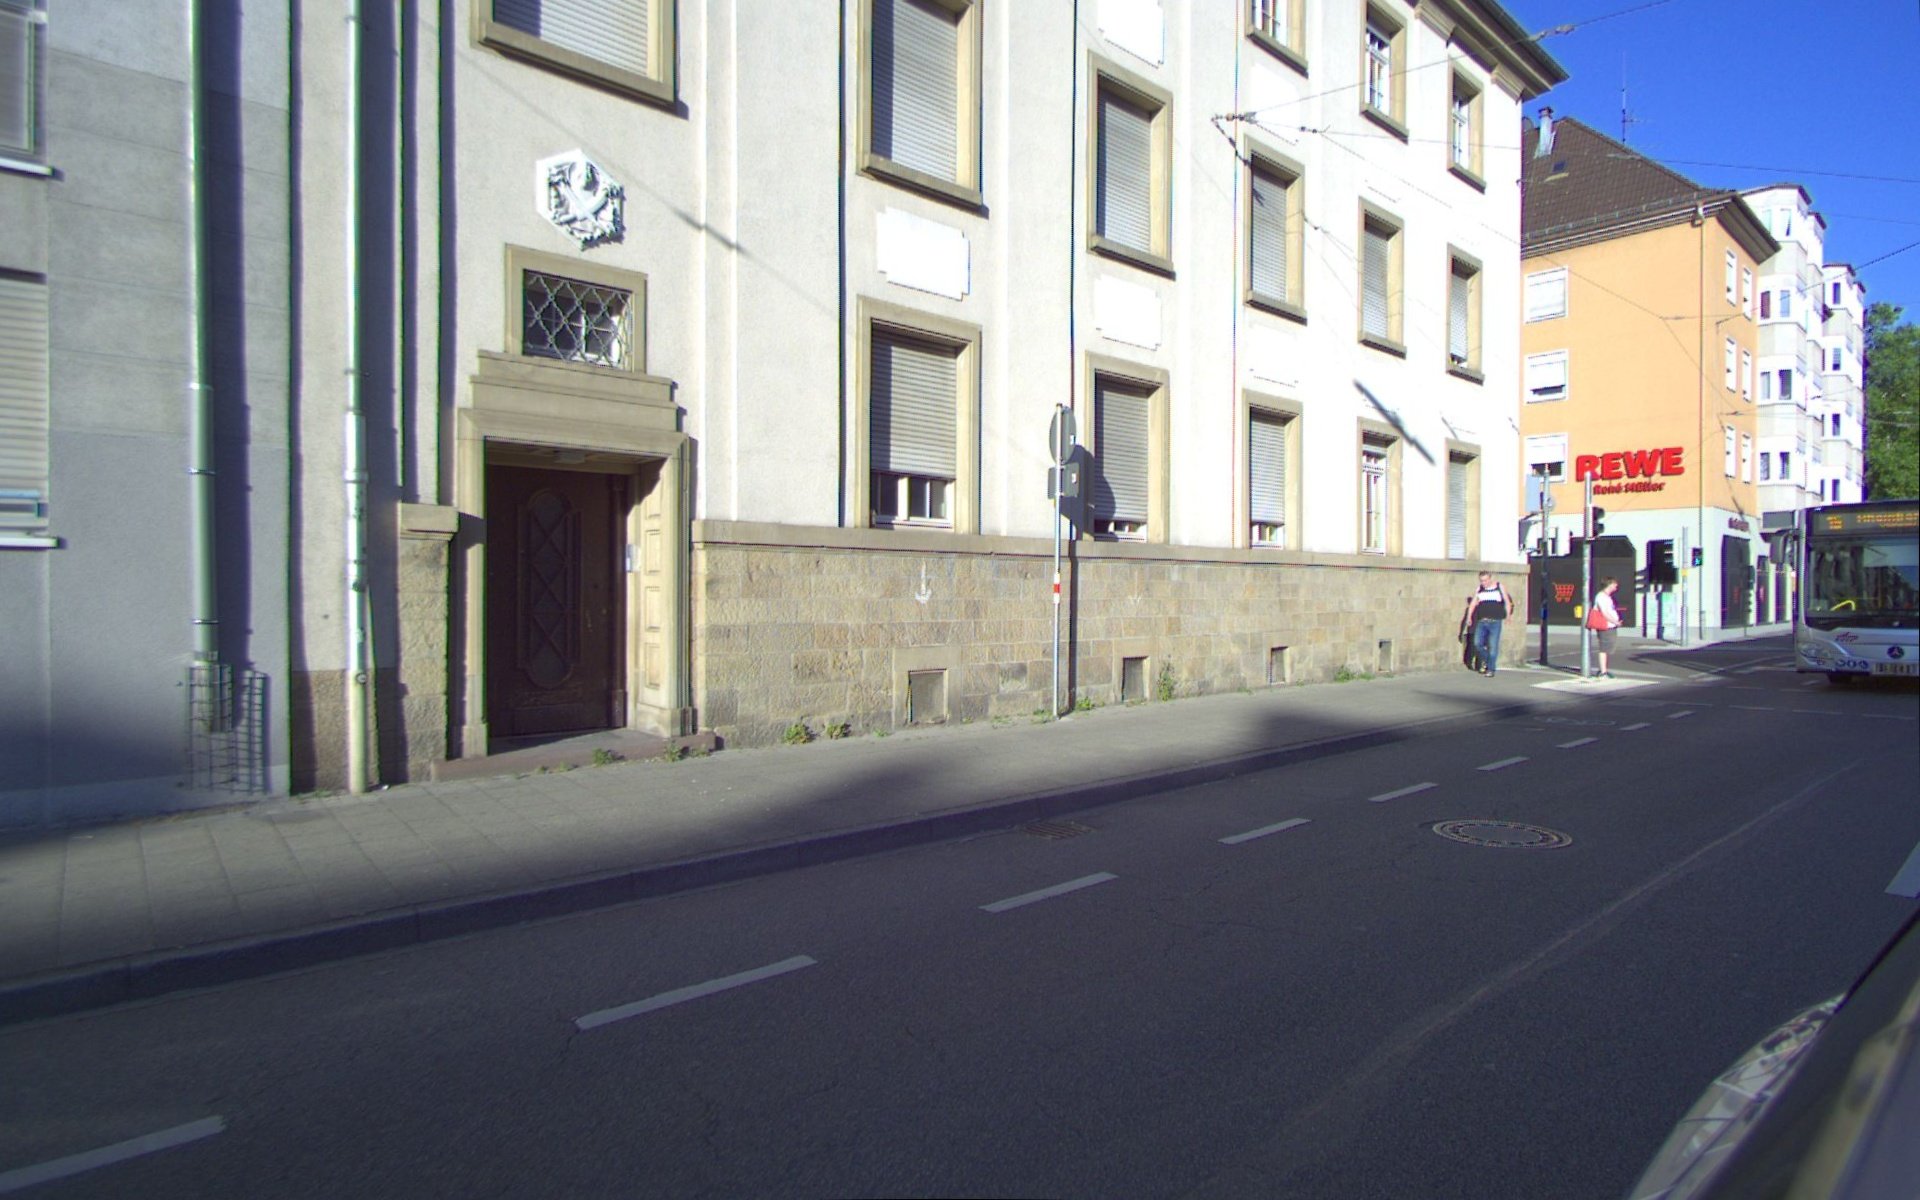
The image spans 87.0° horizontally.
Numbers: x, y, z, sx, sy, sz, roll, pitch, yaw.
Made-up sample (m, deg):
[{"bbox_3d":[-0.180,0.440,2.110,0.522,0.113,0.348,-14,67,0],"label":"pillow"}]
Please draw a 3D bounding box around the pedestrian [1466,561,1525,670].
[{"bbox_3d":[8.910,0.247,16.833,0.549,1.752,0.648,0,3,-40],"label":"pedestrian"}]

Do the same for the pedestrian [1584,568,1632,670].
[{"bbox_3d":[11.368,0.326,17.762,0.438,1.752,0.527,2,2,-42],"label":"pedestrian"}]

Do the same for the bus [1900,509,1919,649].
[{"bbox_3d":[25.960,-0.557,25.119,10.415,3.116,2.710,-1,0,-41],"label":"bus"}]

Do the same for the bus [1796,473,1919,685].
[{"bbox_3d":[18.031,-0.390,18.298,10.414,3.116,2.729,-1,0,-41],"label":"bus"}]
